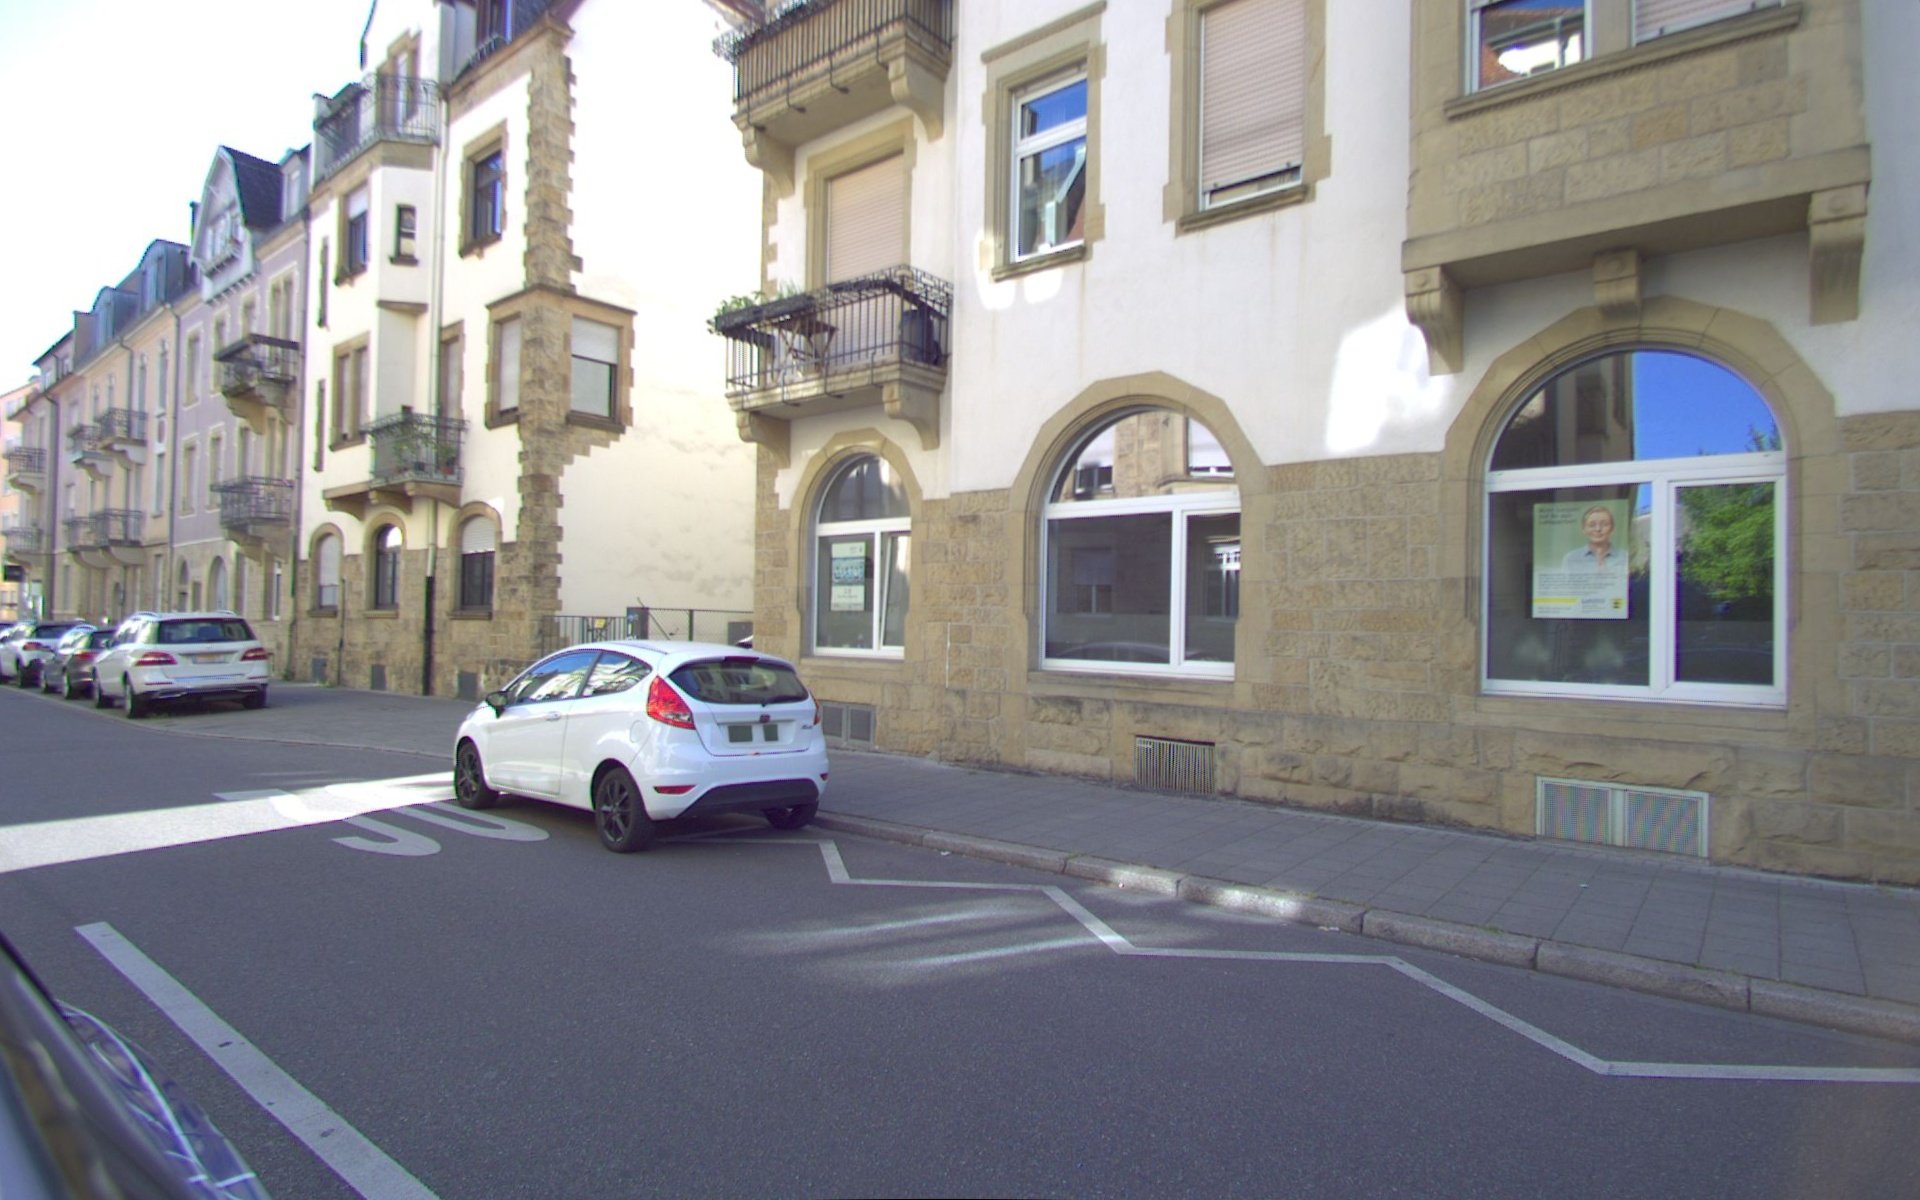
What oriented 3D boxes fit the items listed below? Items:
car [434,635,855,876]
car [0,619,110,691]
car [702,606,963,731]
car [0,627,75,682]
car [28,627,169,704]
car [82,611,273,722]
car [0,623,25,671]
[{"bbox_3d":[-2.708,1.047,8.248,3.734,1.475,1.616,-1,-2,43],"label":"car"},{"bbox_3d":[-22.858,1.321,25.271,4.015,1.595,1.698,-1,1,38],"label":"car"},{"bbox_3d":[-1.934,1.049,16.321,1.908,1.741,3.928,-2,-3,40],"label":"car"},{"bbox_3d":[-26.866,1.529,28.859,3.658,1.404,1.658,-1,1,36],"label":"car"},{"bbox_3d":[-18.604,1.334,21.800,4.275,1.498,1.558,-1,-1,39],"label":"car"},{"bbox_3d":[-14.136,1.106,18.175,4.724,1.735,1.872,-1,-2,42],"label":"car"},{"bbox_3d":[-33.058,1.579,34.122,3.719,1.550,1.698,-1,-2,38],"label":"car"}]
